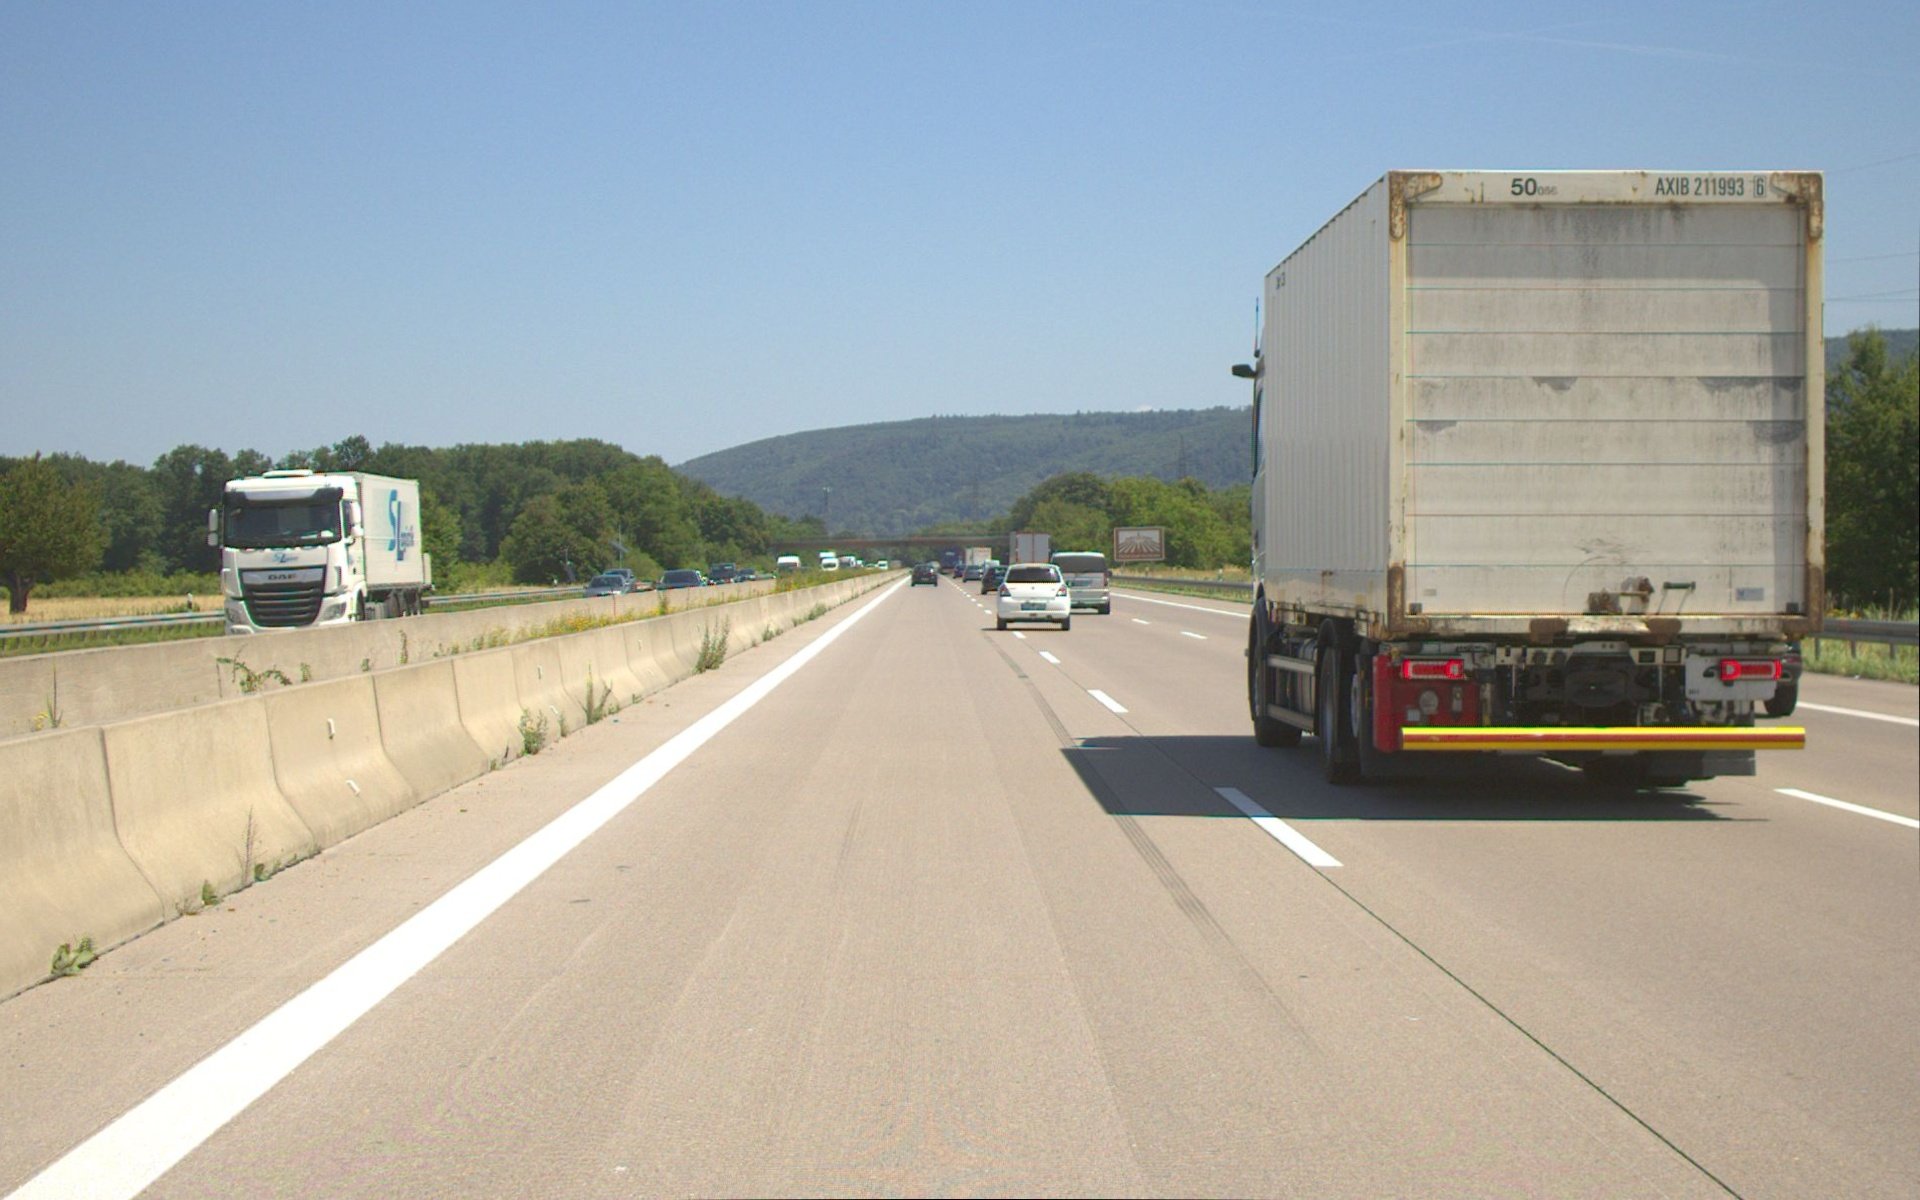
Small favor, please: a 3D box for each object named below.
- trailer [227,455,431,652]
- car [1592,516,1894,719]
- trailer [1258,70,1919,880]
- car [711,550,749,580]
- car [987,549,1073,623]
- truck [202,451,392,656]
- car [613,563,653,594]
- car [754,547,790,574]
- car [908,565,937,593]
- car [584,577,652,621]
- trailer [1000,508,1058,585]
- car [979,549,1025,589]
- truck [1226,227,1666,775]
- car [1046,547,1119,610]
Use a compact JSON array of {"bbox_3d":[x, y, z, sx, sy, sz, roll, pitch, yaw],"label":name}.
[{"bbox_3d":[-13.423,-0.995,73.839,2.900,3.956,8.478,1,1,-1],"label":"trailer"},{"bbox_3d":[7.794,0.140,34.605,1.993,1.842,4.000,2,1,-1],"label":"car"},{"bbox_3d":[3.757,-0.661,21.688,2.580,3.864,10.374,1,1,-1],"label":"trailer"},{"bbox_3d":[-14.765,-2.280,221.125,1.993,1.872,5.184,1,1,1],"label":"car"},{"bbox_3d":[1.599,-0.336,79.350,1.819,1.656,4.000,0,1,-1],"label":"car"},{"bbox_3d":[-13.362,-0.939,69.600,2.900,3.956,5.046,1,1,-1],"label":"truck"},{"bbox_3d":[-18.637,-1.255,195.928,1.993,1.711,4.301,1,1,-2],"label":"car"},{"bbox_3d":[-12.334,-2.615,225.692,1.993,1.711,5.030,1,1,1],"label":"car"},{"bbox_3d":[-2.515,-1.414,231.166,1.928,1.788,4.000,1,1,-1],"label":"car"},{"bbox_3d":[-13.917,-0.060,140.130,1.994,1.711,5.024,1,1,3],"label":"car"},{"bbox_3d":[5.246,-4.118,264.677,3.721,5.791,12.162,1,1,-2],"label":"trailer"},{"bbox_3d":[2.066,-1.542,169.911,1.993,1.842,4.000,2,1,-2],"label":"car"},{"bbox_3d":[3.648,-0.731,26.928,2.580,3.864,4.984,1,1,-1],"label":"truck"},{"bbox_3d":[3.709,-0.668,104.837,1.993,1.842,4.000,1,1,-1],"label":"car"}]
